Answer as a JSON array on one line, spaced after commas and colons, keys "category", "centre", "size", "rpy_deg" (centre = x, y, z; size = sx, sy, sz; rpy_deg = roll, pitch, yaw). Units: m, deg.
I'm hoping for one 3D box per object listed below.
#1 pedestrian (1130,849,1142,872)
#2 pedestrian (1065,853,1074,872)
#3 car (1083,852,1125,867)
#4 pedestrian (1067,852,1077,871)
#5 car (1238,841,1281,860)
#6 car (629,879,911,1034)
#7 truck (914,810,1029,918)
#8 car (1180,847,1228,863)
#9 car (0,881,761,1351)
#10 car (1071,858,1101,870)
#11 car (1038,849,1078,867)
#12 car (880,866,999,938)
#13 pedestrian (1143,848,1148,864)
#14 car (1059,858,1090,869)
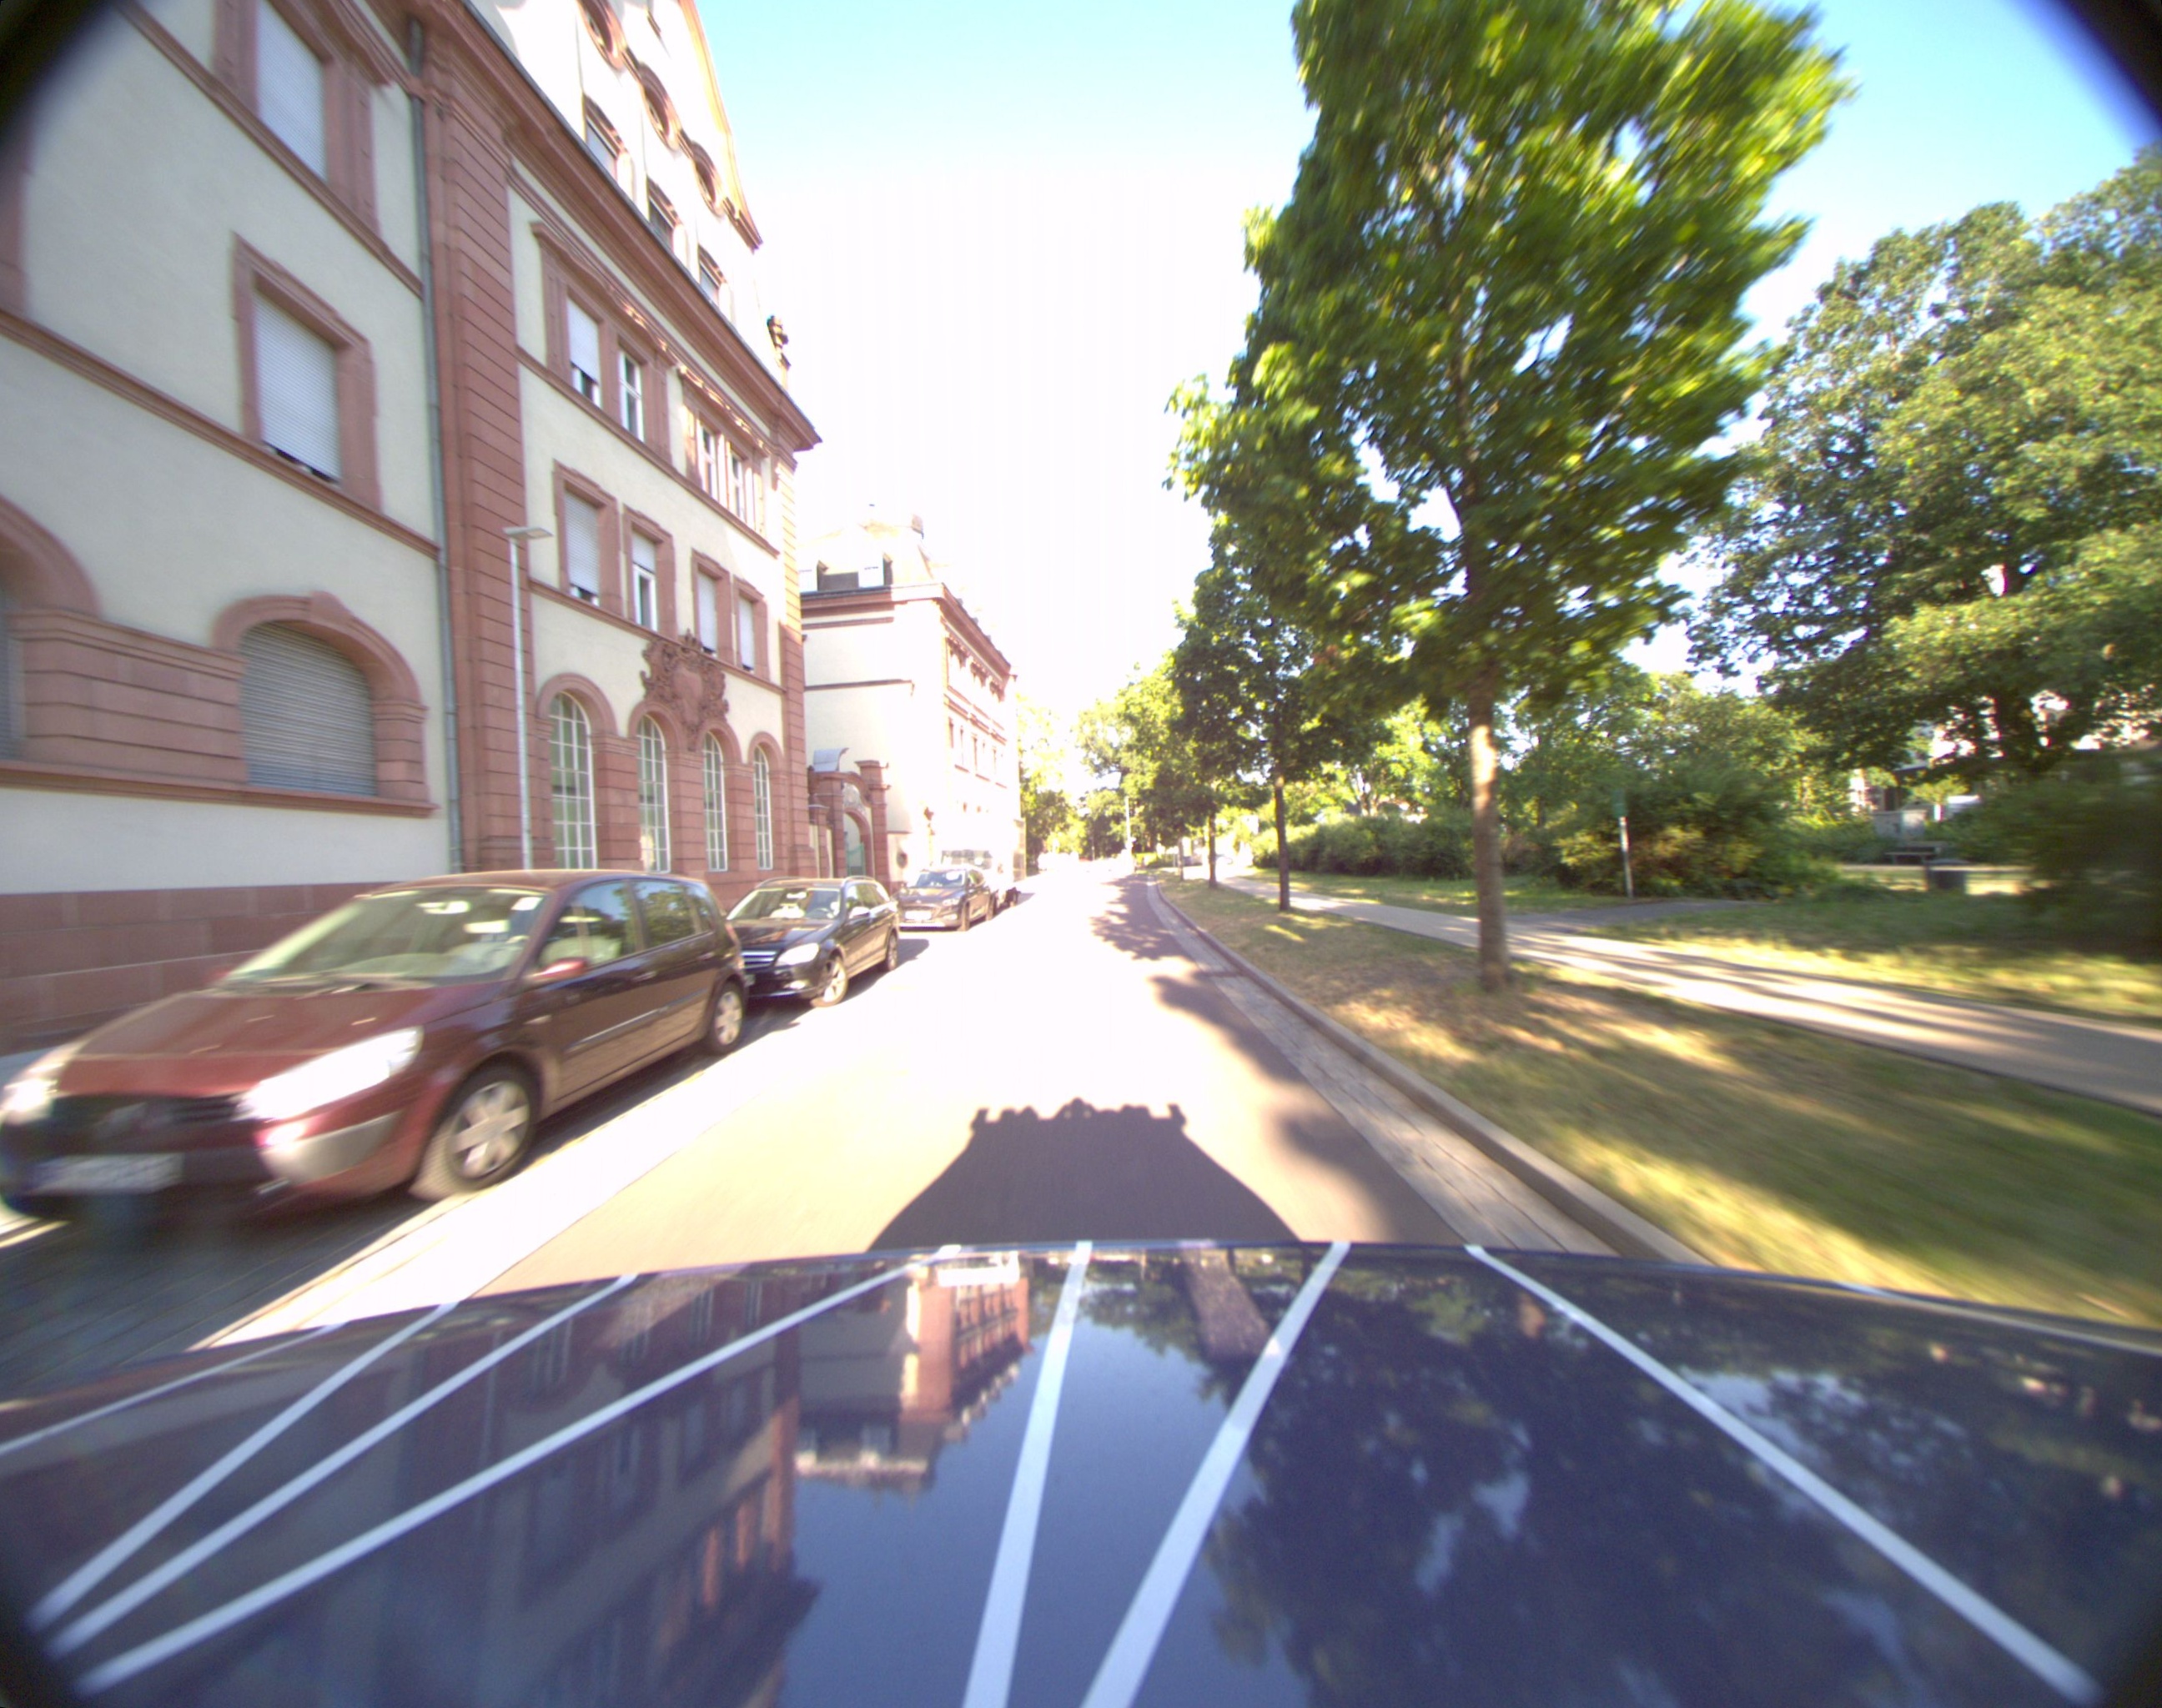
[{"category": "pedestrian", "centre": [4.270, 0.516, 58.855], "size": [0.534, 1.709, 1.002], "rpy_deg": [-3, 1, -13]}, {"category": "pedestrian", "centre": [-1.137, 0.811, 75.492], "size": [0.613, 1.828, 0.726], "rpy_deg": [-3, -2, -11]}, {"category": "car", "centre": [2.609, 0.600, 86.537], "size": [4.347, 1.525, 1.782], "rpy_deg": [-2, -1, -13]}, {"category": "pedestrian", "centre": [-0.903, 0.773, 74.787], "size": [0.717, 1.829, 0.789], "rpy_deg": [-3, -1, -11]}, {"category": "car", "centre": [20.011, -0.335, 85.310], "size": [4.239, 1.905, 1.761], "rpy_deg": [-3, 0, -12]}, {"category": "car", "centre": [-3.720, 1.138, 10.116], "size": [1.876, 1.428, 4.522], "rpy_deg": [-1, 0, 0]}, {"category": "truck", "centre": [-3.369, 0.298, 24.928], "size": [2.630, 3.102, 6.088], "rpy_deg": [0, 0, 2]}, {"category": "car", "centre": [13.540, 0.116, 83.675], "size": [4.839, 1.549, 1.866], "rpy_deg": [-3, 0, -12]}, {"category": "car", "centre": [-3.861, 1.053, 4.919], "size": [1.820, 1.593, 4.192], "rpy_deg": [-1, 0, -1]}, {"category": "car", "centre": [0.674, 1.376, 103.503], "size": [3.681, 1.412, 1.716], "rpy_deg": [-3, 0, -14]}, {"category": "car", "centre": [-3.711, 0.646, 120.484], "size": [5.913, 2.684, 2.218], "rpy_deg": [-3, 0, -14]}, {"category": "car", "centre": [-3.363, 1.096, 19.036], "size": [1.772, 1.521, 4.573], "rpy_deg": [-1, 0, 5]}, {"category": "pedestrian", "centre": [7.516, 0.253, 88.726], "size": [0.435, 1.764, 0.666], "rpy_deg": [-3, 0, -8]}, {"category": "car", "centre": [-0.993, 1.394, 108.819], "size": [4.061, 1.412, 1.716], "rpy_deg": [-3, 0, -14]}]
